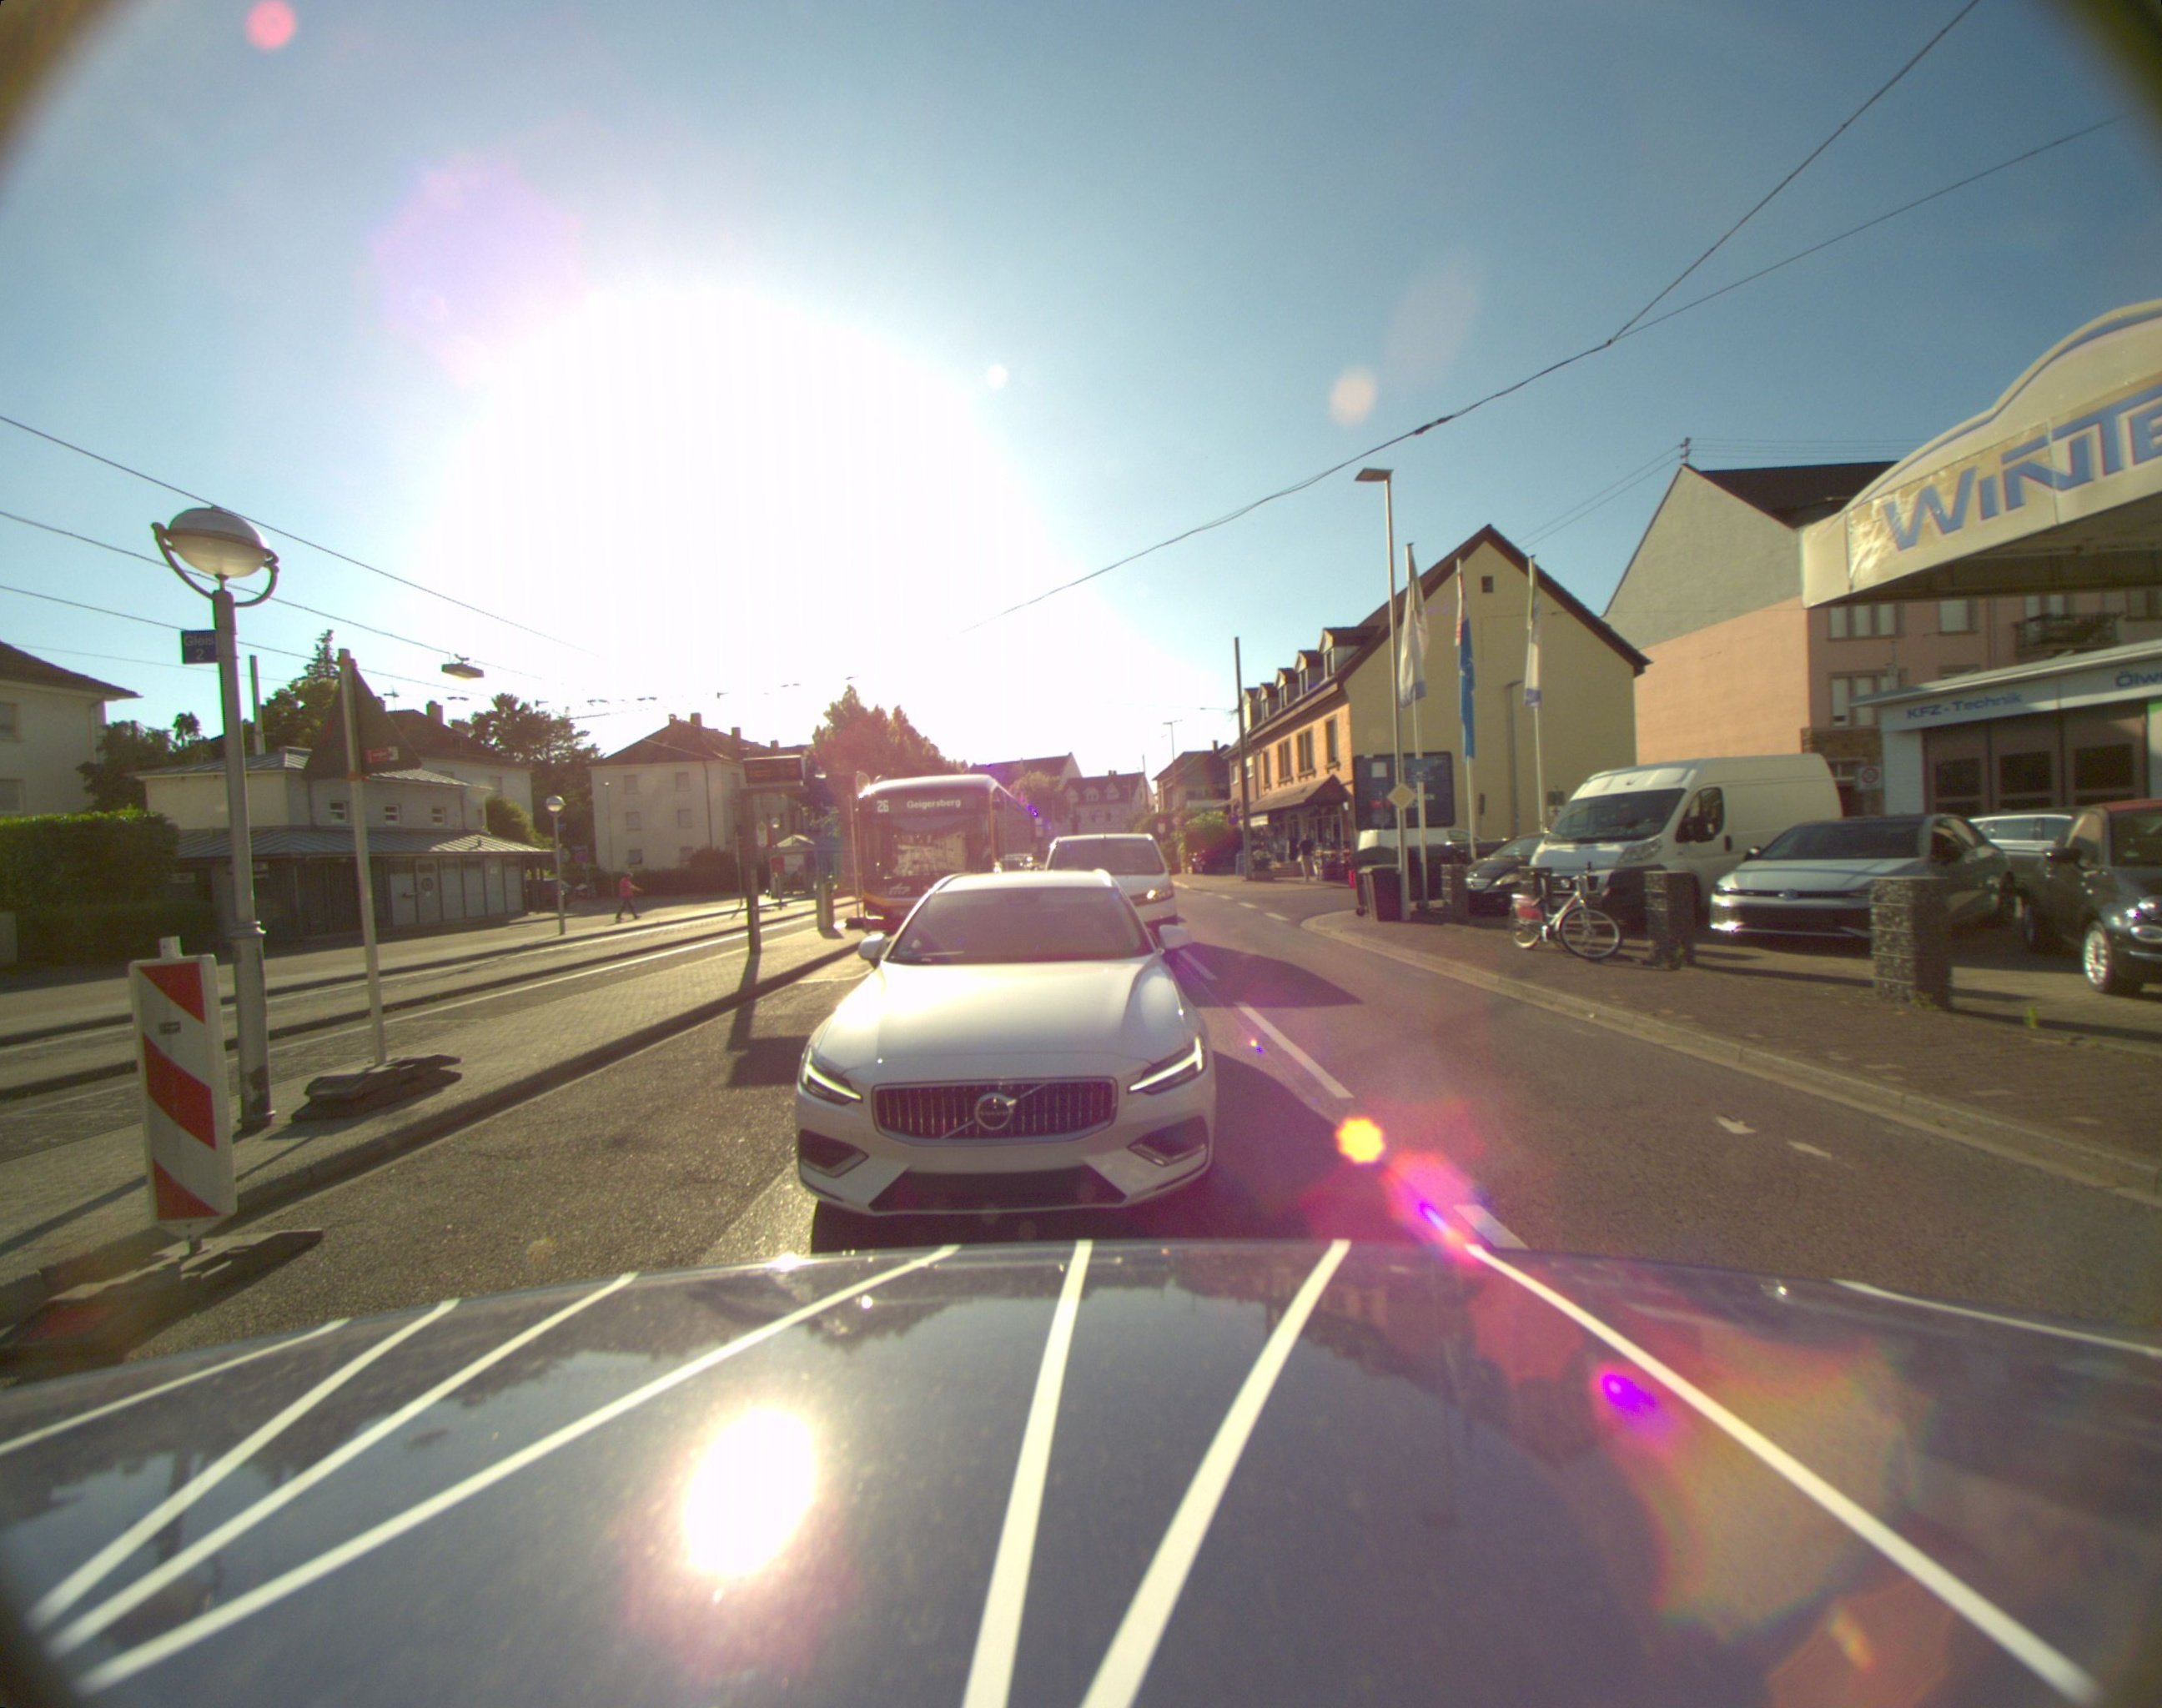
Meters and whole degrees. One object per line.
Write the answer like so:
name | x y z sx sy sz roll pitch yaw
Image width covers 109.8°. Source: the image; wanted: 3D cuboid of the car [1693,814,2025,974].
car | 9.485 0.360 9.218 4.036 1.488 1.739 -3 1 -28

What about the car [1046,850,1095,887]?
car | -0.397 0.583 33.267 1.969 1.450 4.824 -2 0 1

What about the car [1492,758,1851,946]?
car | 9.138 -0.134 11.767 4.997 2.440 2.111 -3 1 -22

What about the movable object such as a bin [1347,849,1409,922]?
movable object such as a bin | 6.231 0.642 15.957 1.045 1.456 0.797 -2 1 32

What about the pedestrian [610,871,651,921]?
pedestrian | -16.098 1.488 27.168 0.841 1.708 0.825 -2 1 3

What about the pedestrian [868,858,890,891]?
pedestrian | -10.295 1.040 38.774 0.826 1.601 0.840 -3 1 -30

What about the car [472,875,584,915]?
car | -27.693 2.046 38.144 4.052 1.663 2.000 -4 1 2

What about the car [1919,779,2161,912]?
car | 16.476 -0.172 11.995 1.742 1.933 4.257 -3 1 -1

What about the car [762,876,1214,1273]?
car | -0.358 0.982 5.263 1.821 1.446 4.217 -2 0 1

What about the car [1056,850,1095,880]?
car | -0.258 0.567 41.514 1.969 1.450 4.824 -2 0 1

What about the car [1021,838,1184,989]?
car | 0.298 0.734 12.016 1.969 1.816 5.033 -2 0 1

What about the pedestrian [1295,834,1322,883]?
pedestrian | 8.715 0.157 29.159 0.822 1.842 0.767 -2 1 7

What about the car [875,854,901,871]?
car | -23.268 1.018 91.778 1.998 1.853 3.999 -2 1 1

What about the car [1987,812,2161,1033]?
car | 9.071 0.413 6.172 1.590 1.488 3.442 -2 1 40

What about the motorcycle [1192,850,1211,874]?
motorcycle | 6.347 0.418 40.126 0.708 1.210 2.186 -2 1 3

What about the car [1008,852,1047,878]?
car | -3.277 0.631 47.310 1.969 1.450 4.824 -2 0 1

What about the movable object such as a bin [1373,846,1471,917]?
movable object such as a bin | 7.588 0.579 16.920 1.798 1.456 1.046 -3 1 -25

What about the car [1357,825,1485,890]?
car | 11.560 0.098 25.929 3.672 2.002 1.451 -2 1 -3

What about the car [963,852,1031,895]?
car | -3.157 0.705 29.506 1.969 1.450 4.824 -2 0 1

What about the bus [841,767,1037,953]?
bus | -2.924 0.095 19.839 2.748 3.284 12.030 -2 0 0

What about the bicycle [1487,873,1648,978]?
bicycle | 5.877 0.815 9.320 0.725 1.080 1.791 -3 1 -3

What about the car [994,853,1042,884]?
car | -3.234 0.705 39.895 1.969 1.450 4.824 -2 0 1

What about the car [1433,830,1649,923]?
car | 8.962 0.374 14.754 4.036 1.469 1.739 -3 1 -28
